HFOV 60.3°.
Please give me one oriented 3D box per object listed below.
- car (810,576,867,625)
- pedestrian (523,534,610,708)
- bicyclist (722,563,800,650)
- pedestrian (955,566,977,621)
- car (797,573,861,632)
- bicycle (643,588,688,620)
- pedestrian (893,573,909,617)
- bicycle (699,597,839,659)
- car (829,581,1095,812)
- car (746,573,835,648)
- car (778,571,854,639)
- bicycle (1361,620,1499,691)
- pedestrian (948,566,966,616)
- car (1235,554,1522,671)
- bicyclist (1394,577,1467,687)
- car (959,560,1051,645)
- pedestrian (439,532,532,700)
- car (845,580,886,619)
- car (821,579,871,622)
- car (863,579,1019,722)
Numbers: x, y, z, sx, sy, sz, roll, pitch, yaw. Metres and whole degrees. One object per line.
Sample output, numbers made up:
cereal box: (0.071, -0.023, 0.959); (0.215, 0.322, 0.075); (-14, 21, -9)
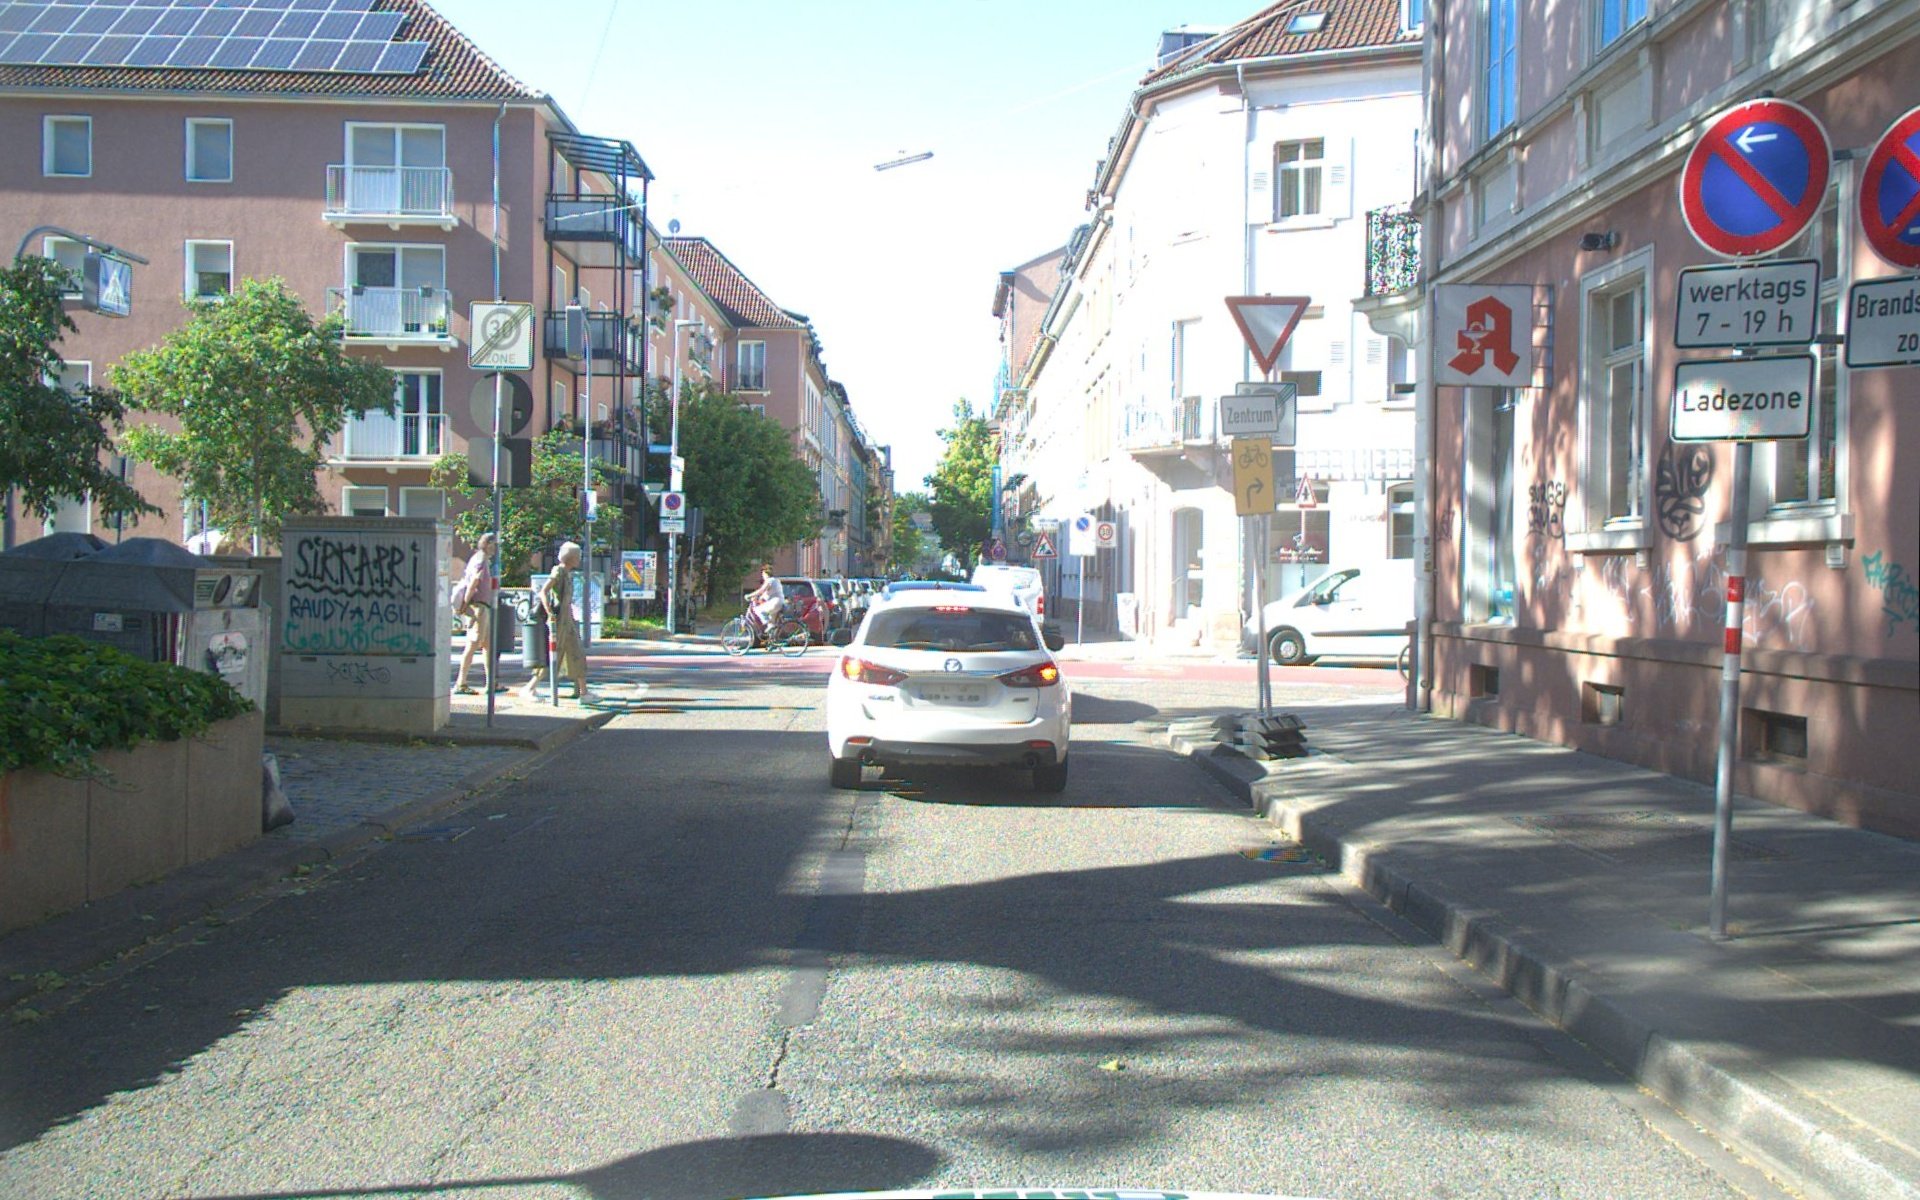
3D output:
car: (-4.071, 0.021, 55.888); (1.685, 1.604, 3.725); (0, 0, 0)
pedestrian: (-4.357, 0.230, 18.318); (0.839, 1.847, 0.812); (3, -1, -14)
bicyclist: (-3.587, 0.108, 29.843); (1.170, 1.543, 0.841); (0, 0, 14)
pedestrian: (0.220, -0.233, 59.270); (0.755, 1.952, 0.834); (0, 0, 0)
car: (-3.843, 0.067, 49.107); (1.602, 1.685, 3.784); (0, 0, 0)
bicycle: (-8.765, 0.118, 49.183); (0.598, 0.948, 1.892); (0, 0, -34)
pedestrian: (-2.508, -0.212, 70.223); (0.634, 1.828, 0.639); (0, 0, 0)
bicycle: (-3.441, 0.495, 29.831); (2.373, 1.098, 0.791); (0, 0, 14)
car: (-0.038, 0.641, 13.186); (1.787, 1.540, 3.822); (1, 1, -2)
car: (-3.845, 0.201, 37.994); (1.734, 1.616, 3.725); (0, 1, -2)
car: (-3.750, 0.105, 43.594); (1.685, 1.712, 3.726); (0, 0, 0)
bicycle: (6.893, 0.810, 24.345); (1.886, 1.003, 0.664); (0, 0, 9)
pedestrian: (-0.136, -0.386, 71.275); (0.755, 2.155, 0.834); (0, 0, 0)
car: (7.622, 0.217, 30.115); (4.791, 1.962, 1.999); (1, -1, 24)
bicyclist: (6.916, 0.463, 24.340); (0.962, 1.580, 0.762); (0, 0, 10)
car: (1.072, 0.042, 41.308); (1.904, 1.982, 4.076); (1, 0, -3)
pedestrian: (-5.466, 0.175, 19.096); (0.951, 1.870, 0.679); (2, 1, -16)
car: (-3.976, -0.007, 70.212); (1.540, 1.613, 3.610); (0, 0, 0)
car: (-4.100, 0.019, 59.900); (1.569, 1.503, 3.567); (0, 0, 0)
car: (-0.252, 0.517, 19.327); (1.648, 1.507, 3.660); (0, 1, -2)
